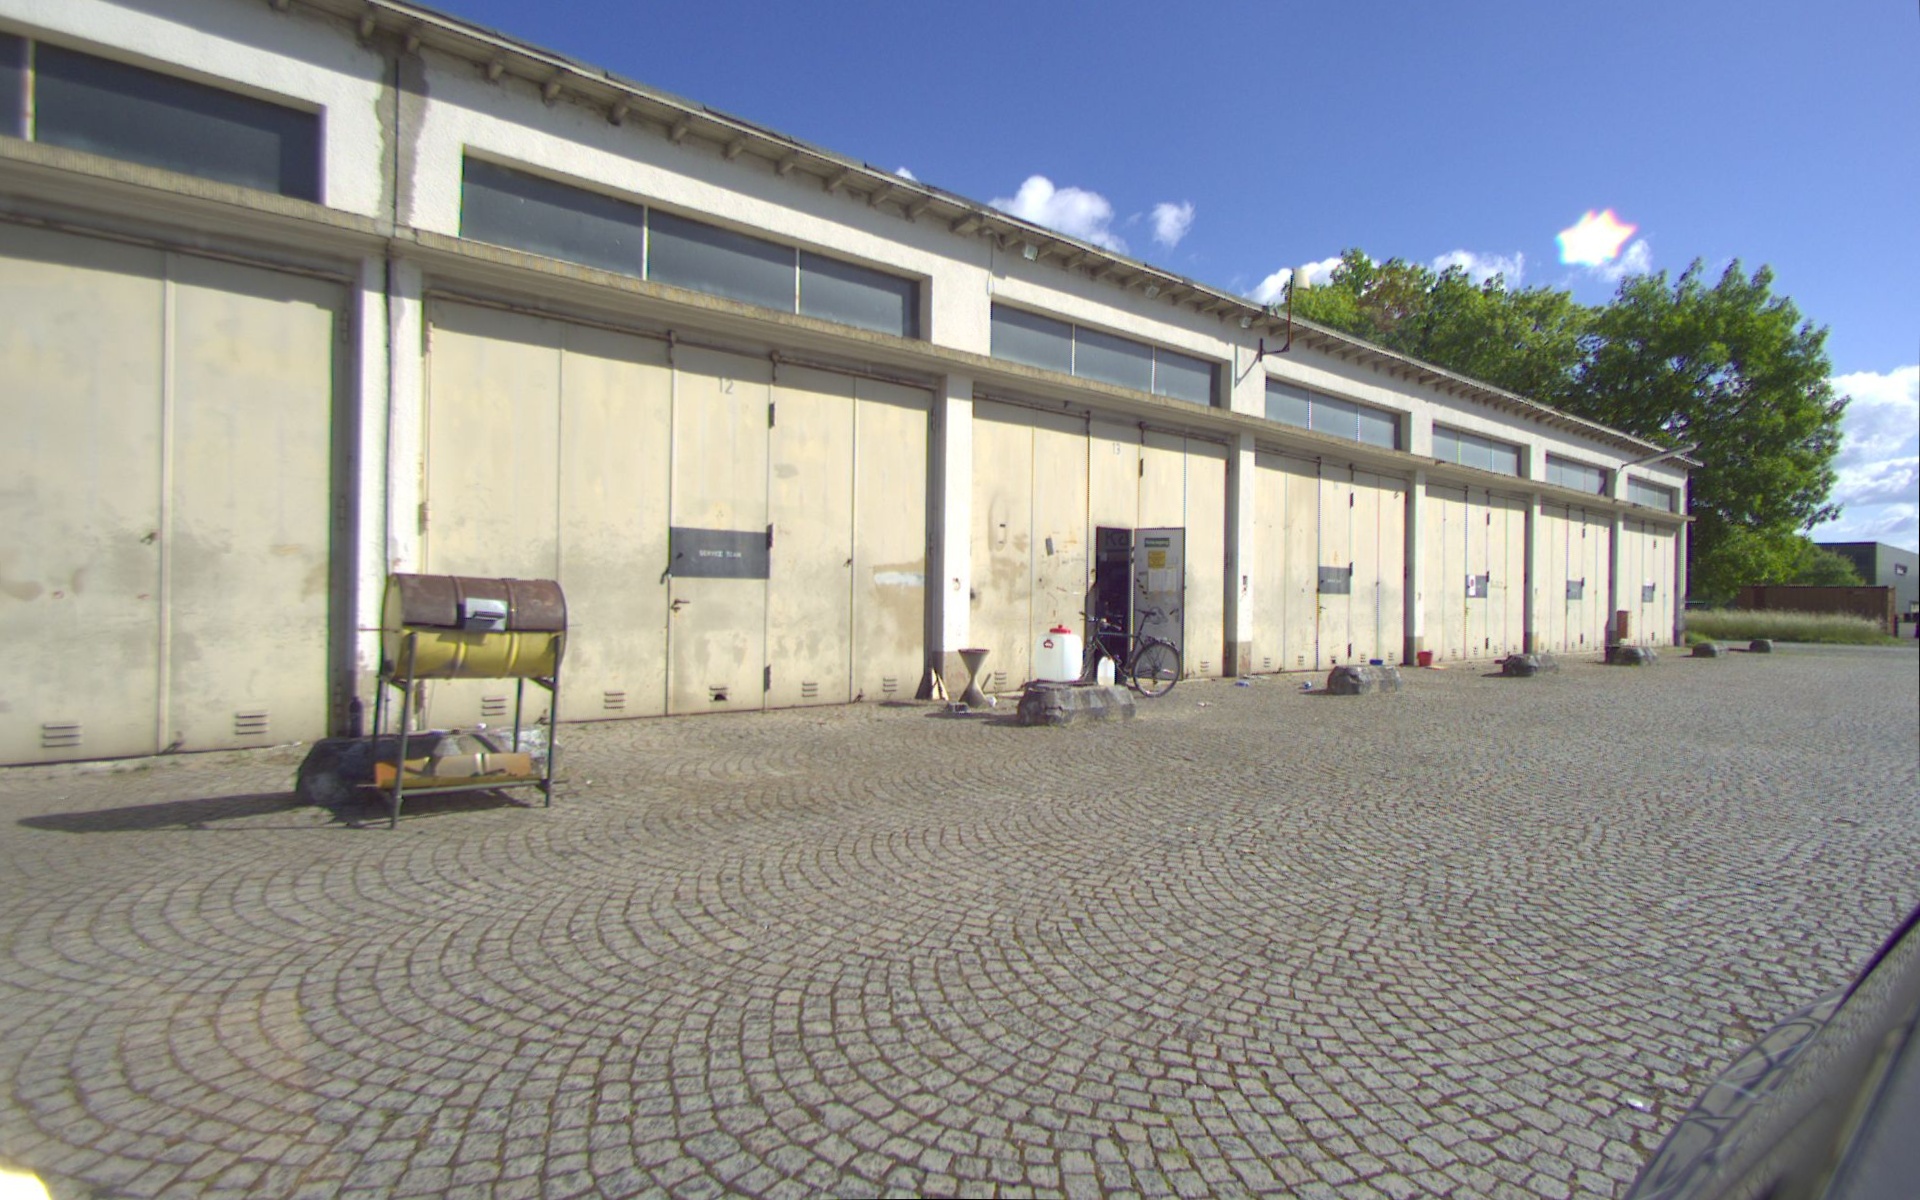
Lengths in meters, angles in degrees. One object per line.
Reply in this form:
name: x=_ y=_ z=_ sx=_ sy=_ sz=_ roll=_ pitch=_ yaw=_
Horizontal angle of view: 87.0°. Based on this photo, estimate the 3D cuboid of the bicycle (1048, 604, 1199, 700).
bicycle: x=2.020 y=0.605 z=12.444 sx=1.787 sy=1.081 sz=0.667 roll=0 pitch=0 yaw=-28
